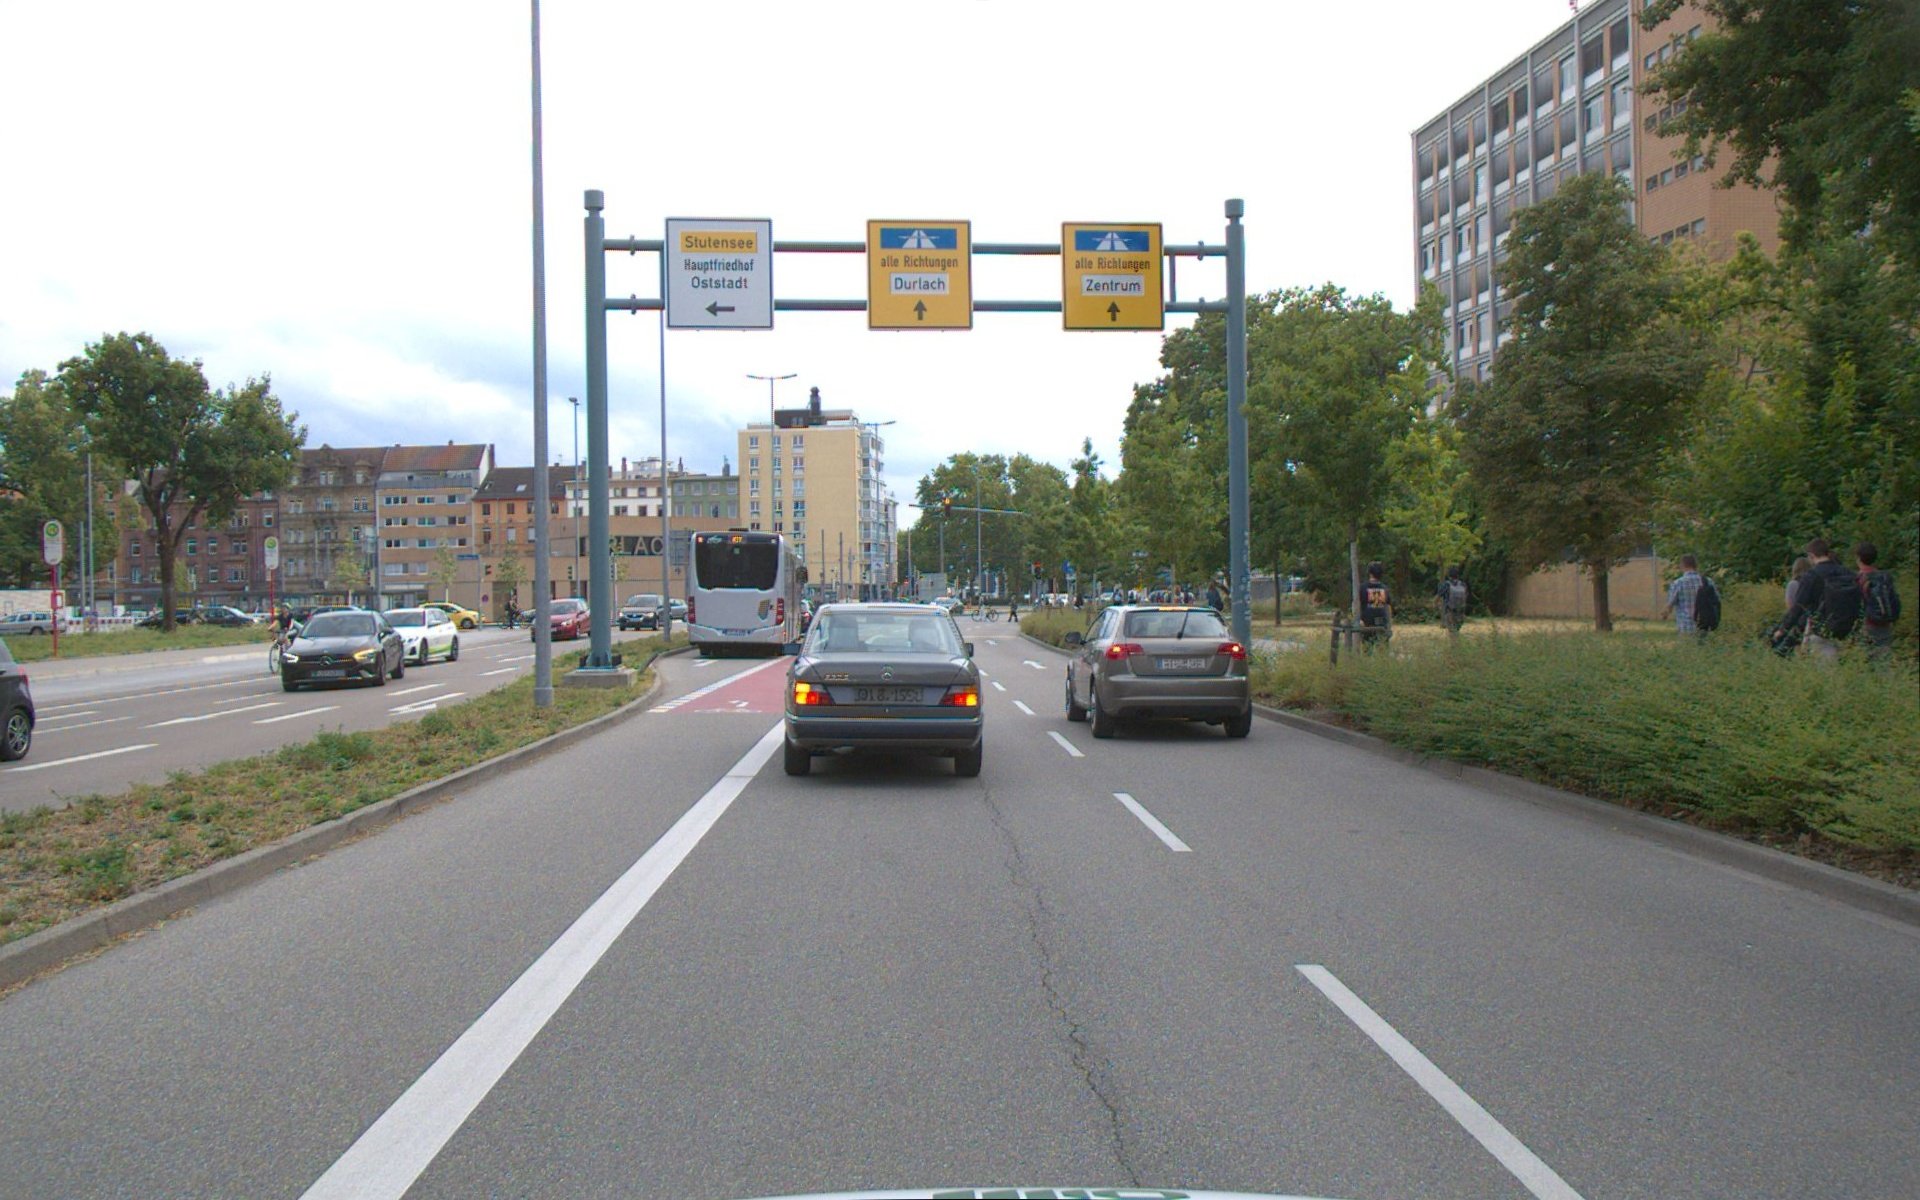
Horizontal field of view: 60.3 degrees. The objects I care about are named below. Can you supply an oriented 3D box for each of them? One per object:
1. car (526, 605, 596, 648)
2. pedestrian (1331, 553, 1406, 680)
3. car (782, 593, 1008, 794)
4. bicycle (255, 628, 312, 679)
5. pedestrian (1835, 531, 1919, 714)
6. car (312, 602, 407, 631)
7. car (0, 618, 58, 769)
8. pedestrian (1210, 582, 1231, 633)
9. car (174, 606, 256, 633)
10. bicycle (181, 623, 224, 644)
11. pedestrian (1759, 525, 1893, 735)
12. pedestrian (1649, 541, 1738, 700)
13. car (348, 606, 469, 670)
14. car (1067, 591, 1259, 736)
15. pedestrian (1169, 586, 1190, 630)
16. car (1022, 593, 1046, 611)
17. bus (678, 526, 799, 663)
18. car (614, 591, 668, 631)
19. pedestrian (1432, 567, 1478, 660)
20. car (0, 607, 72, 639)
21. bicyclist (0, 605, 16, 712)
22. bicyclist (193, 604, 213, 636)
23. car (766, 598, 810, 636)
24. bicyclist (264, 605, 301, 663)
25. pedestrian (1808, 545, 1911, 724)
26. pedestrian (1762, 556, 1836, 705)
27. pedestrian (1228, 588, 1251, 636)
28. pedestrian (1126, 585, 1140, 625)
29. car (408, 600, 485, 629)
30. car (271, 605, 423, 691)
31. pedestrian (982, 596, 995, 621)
[{"bbox_3d":[-15.077,0.964,62.689,1.766,1.515,4.286,-1,0,-3],"label":"car"},{"bbox_3d":[6.149,0.243,24.876,0.915,1.862,0.886,-1,0,25],"label":"pedestrian"},{"bbox_3d":[-0.686,0.714,14.888,1.727,1.515,4.166,-1,0,-5],"label":"car"},{"bbox_3d":[-16.945,1.331,41.468,0.569,1.191,1.964,-1,0,1],"label":"bicycle"},{"bbox_3d":[9.275,0.220,16.708,0.474,1.794,0.664,-1,0,-2],"label":"pedestrian"},{"bbox_3d":[-32.692,0.903,90.192,4.581,1.501,1.658,1,0,-8],"label":"car"},{"bbox_3d":[-10.540,0.992,16.060,1.540,1.515,3.636,-2,0,-1],"label":"car"},{"bbox_3d":[9.020,0.243,57.309,0.632,1.743,0.562,-1,0,12],"label":"pedestrian"},{"bbox_3d":[-40.106,1.028,89.105,3.694,1.419,1.581,0,0,-10],"label":"car"},{"bbox_3d":[-39.743,1.753,86.766,1.927,0.999,0.630,-1,0,-8],"label":"bicycle"},{"bbox_3d":[7.915,0.263,15.151,0.679,1.853,0.954,-1,0,-2],"label":"pedestrian"},{"bbox_3d":[8.362,0.230,18.888,0.606,1.766,0.814,-1,0,-2],"label":"pedestrian"},{"bbox_3d":[-14.265,0.948,43.001,1.765,1.515,4.414,-1,0,-2],"label":"car"},{"bbox_3d":[2.237,0.649,19.108,1.689,1.483,3.735,-1,0,-1],"label":"car"},{"bbox_3d":[8.931,0.327,67.225,0.784,1.743,0.765,-1,0,10],"label":"pedestrian"},{"bbox_3d":[7.464,0.194,166.999,1.951,1.733,4.004,-1,0,10],"label":"car"},{"bbox_3d":[-6.041,-0.173,46.235,2.776,3.449,8.176,-1,0,-4],"label":"bus"},{"bbox_3d":[-14.773,0.499,76.815,1.766,1.694,4.298,-3,0,-3],"label":"car"},{"bbox_3d":[9.230,0.244,30.859,0.575,1.712,0.748,-1,0,-2],"label":"pedestrian"},{"bbox_3d":[-52.555,1.291,93.138,4.077,1.678,1.644,-1,0,-9],"label":"car"},{"bbox_3d":[-16.574,1.002,28.068,0.605,1.813,0.811,-1,0,2],"label":"bicyclist"},{"bbox_3d":[-39.713,1.037,86.787,0.771,1.672,0.571,-1,0,-8],"label":"bicyclist"},{"bbox_3d":[-6.733,0.654,65.096,1.623,1.421,3.856,0,0,-5],"label":"car"},{"bbox_3d":[-16.959,0.845,41.431,0.568,1.444,0.811,-1,0,1],"label":"bicyclist"},{"bbox_3d":[8.730,0.324,16.075,0.544,1.684,0.753,-1,0,-2],"label":"pedestrian"},{"bbox_3d":[9.572,0.344,18.883,0.458,1.662,0.653,-1,0,-2],"label":"pedestrian"},{"bbox_3d":[8.811,0.371,52.154,0.643,1.496,0.562,-1,0,14],"label":"pedestrian"},{"bbox_3d":[8.974,0.236,85.634,0.602,2.049,0.597,-1,0,-4],"label":"pedestrian"},{"bbox_3d":[-28.185,0.786,90.842,3.783,1.544,1.658,0,0,-8],"label":"car"},{"bbox_3d":[-11.950,0.891,32.529,1.767,1.515,4.399,-1,0,-7],"label":"car"},{"bbox_3d":[1.881,0.582,108.243,0.552,1.620,0.622,0,-2,-41],"label":"pedestrian"}]
